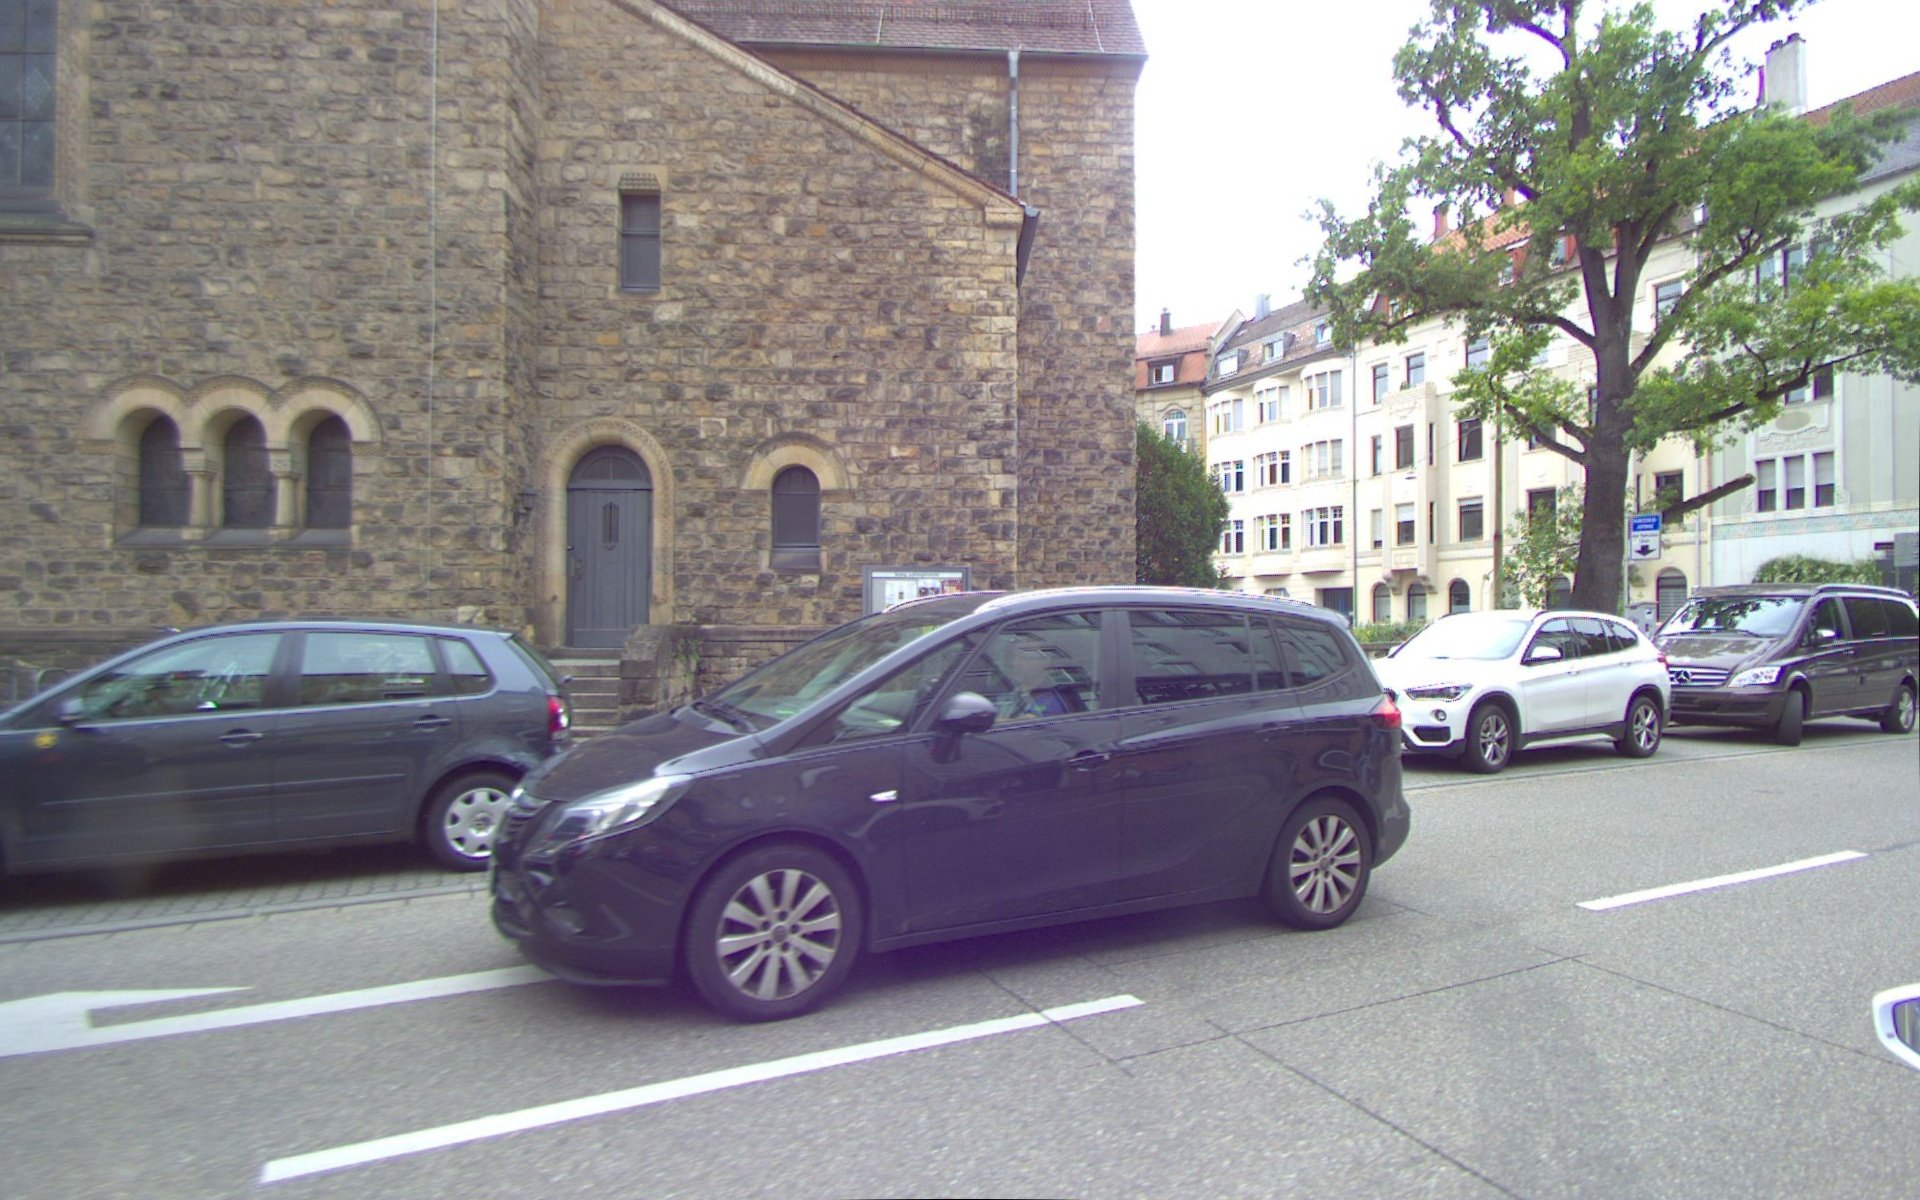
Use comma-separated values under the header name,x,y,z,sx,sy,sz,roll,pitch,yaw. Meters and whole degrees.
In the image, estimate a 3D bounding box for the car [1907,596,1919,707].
name,x,y,z,sx,sy,sz,roll,pitch,yaw
car,19.318,0.908,18.053,4.486,1.965,1.838,1,-1,-25

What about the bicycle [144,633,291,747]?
name,x,y,z,sx,sy,sz,roll,pitch,yaw
bicycle,-8.127,0.936,11.092,0.650,1.145,1.779,0,-2,-14

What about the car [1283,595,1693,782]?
name,x,y,z,sx,sy,sz,roll,pitch,yaw
car,5.849,0.846,11.055,4.376,1.711,1.836,0,-1,-28

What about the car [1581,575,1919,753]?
name,x,y,z,sx,sy,sz,roll,pitch,yaw
car,10.991,0.788,13.664,5.117,2.040,2.006,1,-1,-28

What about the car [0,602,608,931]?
name,x,y,z,sx,sy,sz,roll,pitch,yaw
car,-4.140,0.829,5.881,3.723,1.528,1.640,2,-1,-27

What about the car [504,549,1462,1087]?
name,x,y,z,sx,sy,sz,roll,pitch,yaw
car,0.204,0.732,5.042,4.489,1.706,1.838,1,-1,-27

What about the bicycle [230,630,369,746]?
name,x,y,z,sx,sy,sz,roll,pitch,yaw
bicycle,-7.355,0.932,11.282,0.729,1.182,1.779,0,-2,-14
